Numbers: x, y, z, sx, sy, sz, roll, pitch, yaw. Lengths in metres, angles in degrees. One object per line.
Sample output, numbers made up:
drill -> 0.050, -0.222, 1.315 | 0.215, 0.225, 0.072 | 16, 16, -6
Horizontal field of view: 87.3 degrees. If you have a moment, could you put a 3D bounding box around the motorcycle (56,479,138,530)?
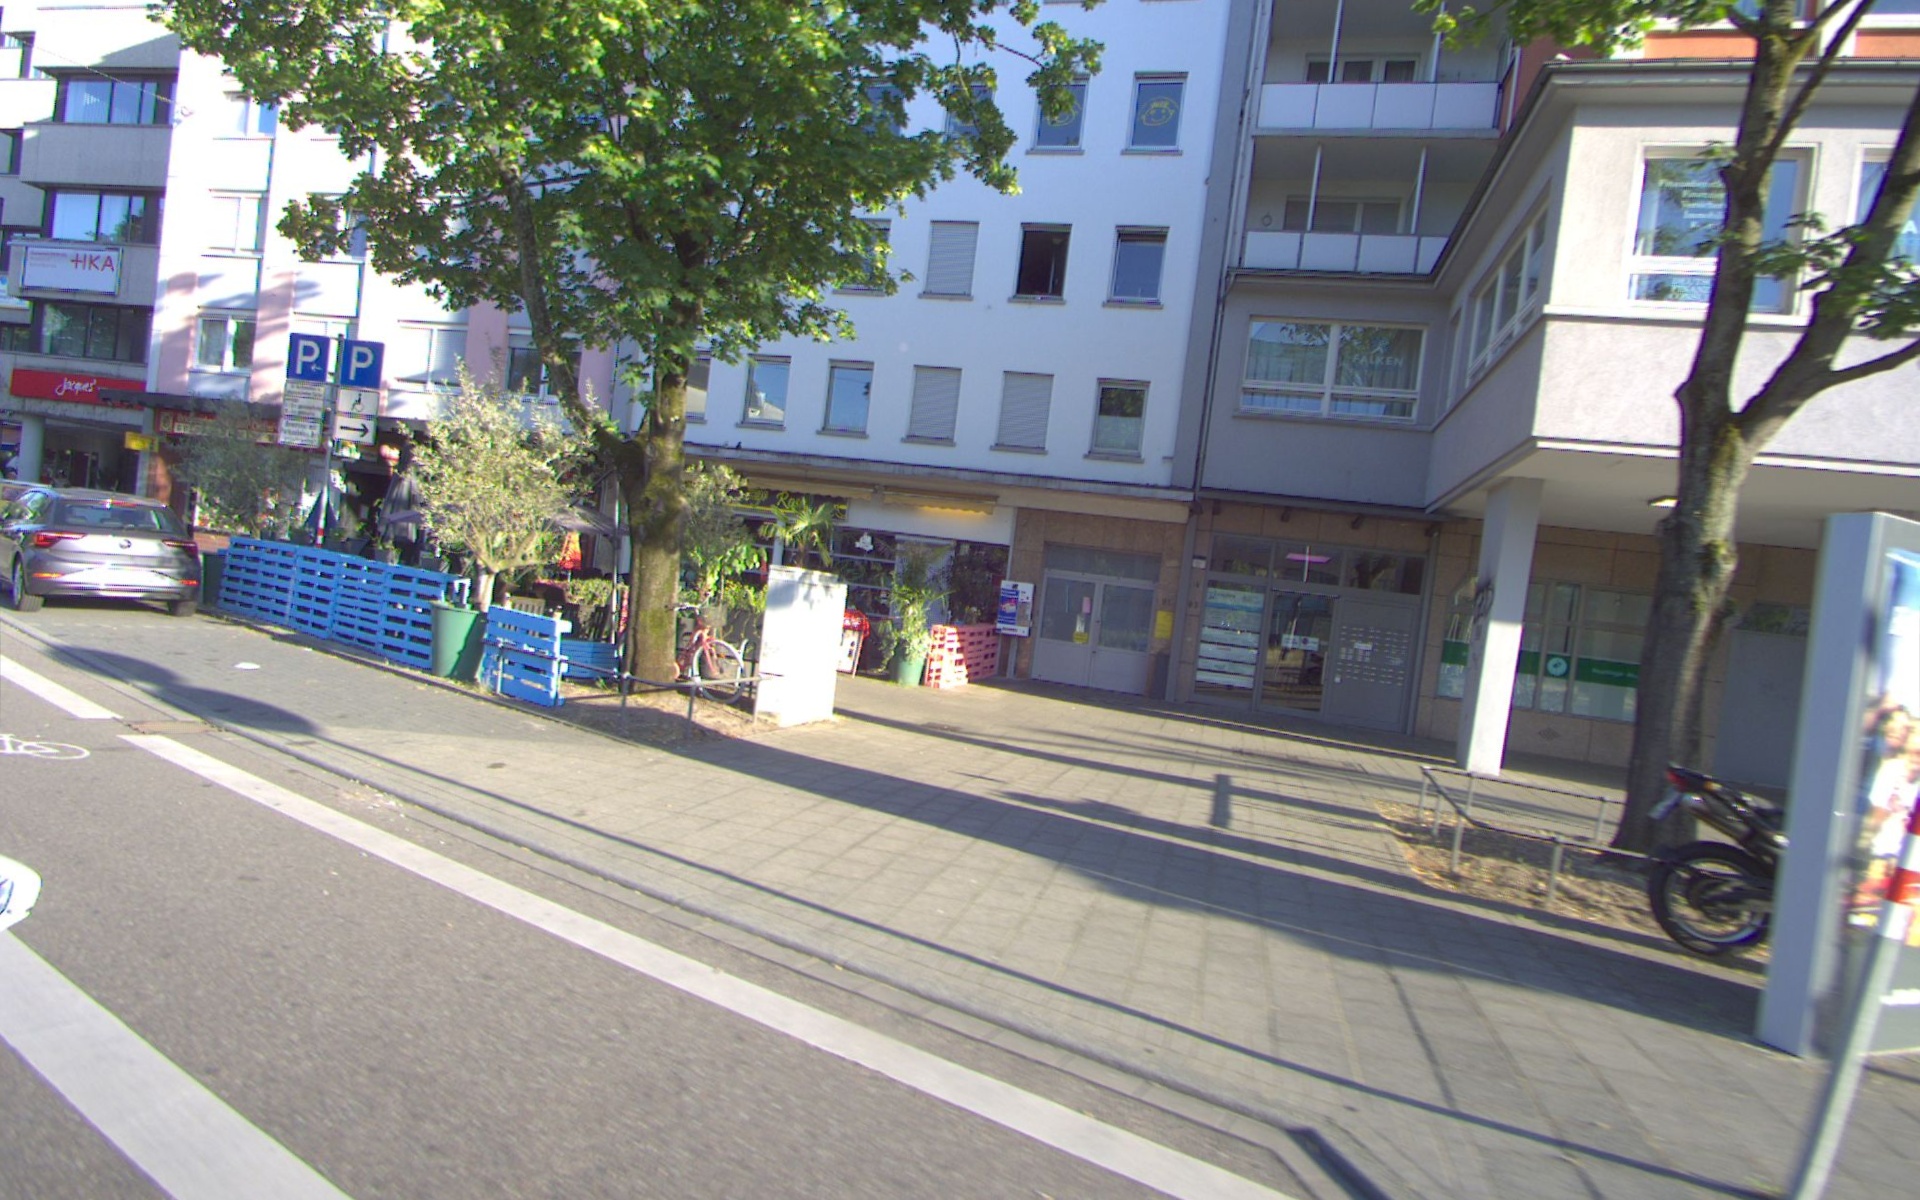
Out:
motorcycle -> -26.694, -2.949, 31.156 | 0.573, 1.349, 1.785 | 7, 2, 27

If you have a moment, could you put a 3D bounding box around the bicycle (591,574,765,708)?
bicycle -> -3.045, 0.425, 10.831 | 1.722, 1.172, 0.421 | 8, 2, 17

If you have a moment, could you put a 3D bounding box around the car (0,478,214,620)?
car -> -11.324, -0.712, 12.985 | 3.840, 1.492, 1.725 | 7, 3, 38

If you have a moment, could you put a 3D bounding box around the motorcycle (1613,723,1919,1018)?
motorcycle -> 4.934, 1.488, 5.413 | 2.160, 1.258, 0.668 | 8, 1, 22

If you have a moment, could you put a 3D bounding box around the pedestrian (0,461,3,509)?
pedestrian -> -35.773, -4.278, 37.089 | 0.652, 1.764, 0.621 | 8, 4, 40

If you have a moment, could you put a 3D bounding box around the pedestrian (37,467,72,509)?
pedestrian -> -40.125, -4.957, 44.575 | 0.632, 1.695, 0.987 | 8, 2, 40
